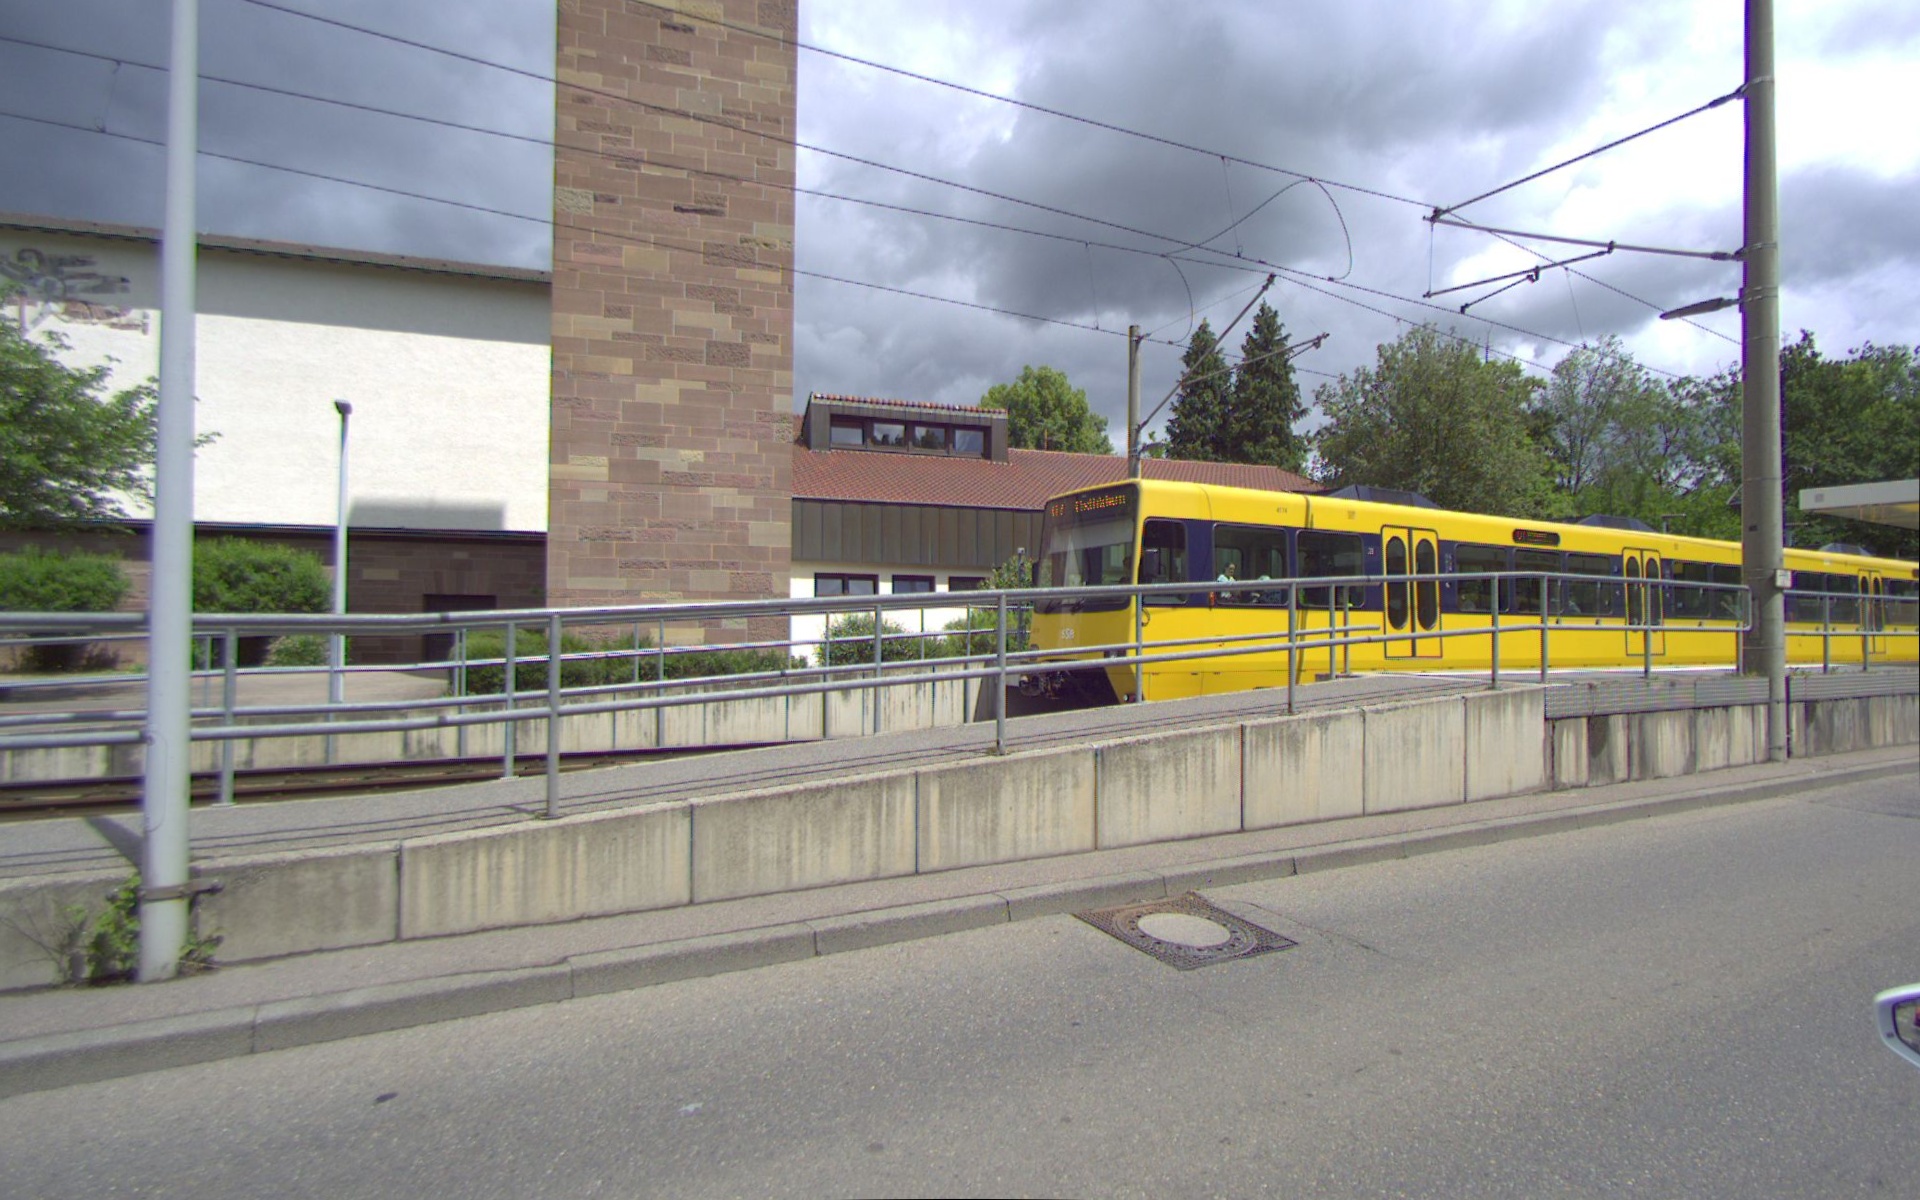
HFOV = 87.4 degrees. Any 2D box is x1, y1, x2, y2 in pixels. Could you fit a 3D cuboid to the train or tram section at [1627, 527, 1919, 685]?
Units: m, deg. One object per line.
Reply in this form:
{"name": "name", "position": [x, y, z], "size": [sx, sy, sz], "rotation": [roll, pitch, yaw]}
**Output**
{"name": "train or tram section", "position": [25.406, 0.302, 28.390], "size": [18.775, 3.511, 3.093], "rotation": [1, 0, -31]}

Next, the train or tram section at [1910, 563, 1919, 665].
{"name": "train or tram section", "position": [41.578, 0.658, 38.008], "size": [18.974, 3.511, 3.093], "rotation": [1, 0, -31]}

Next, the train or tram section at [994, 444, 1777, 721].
{"name": "train or tram section", "position": [9.305, -0.052, 18.832], "size": [18.606, 3.511, 3.093], "rotation": [1, 0, -31]}
